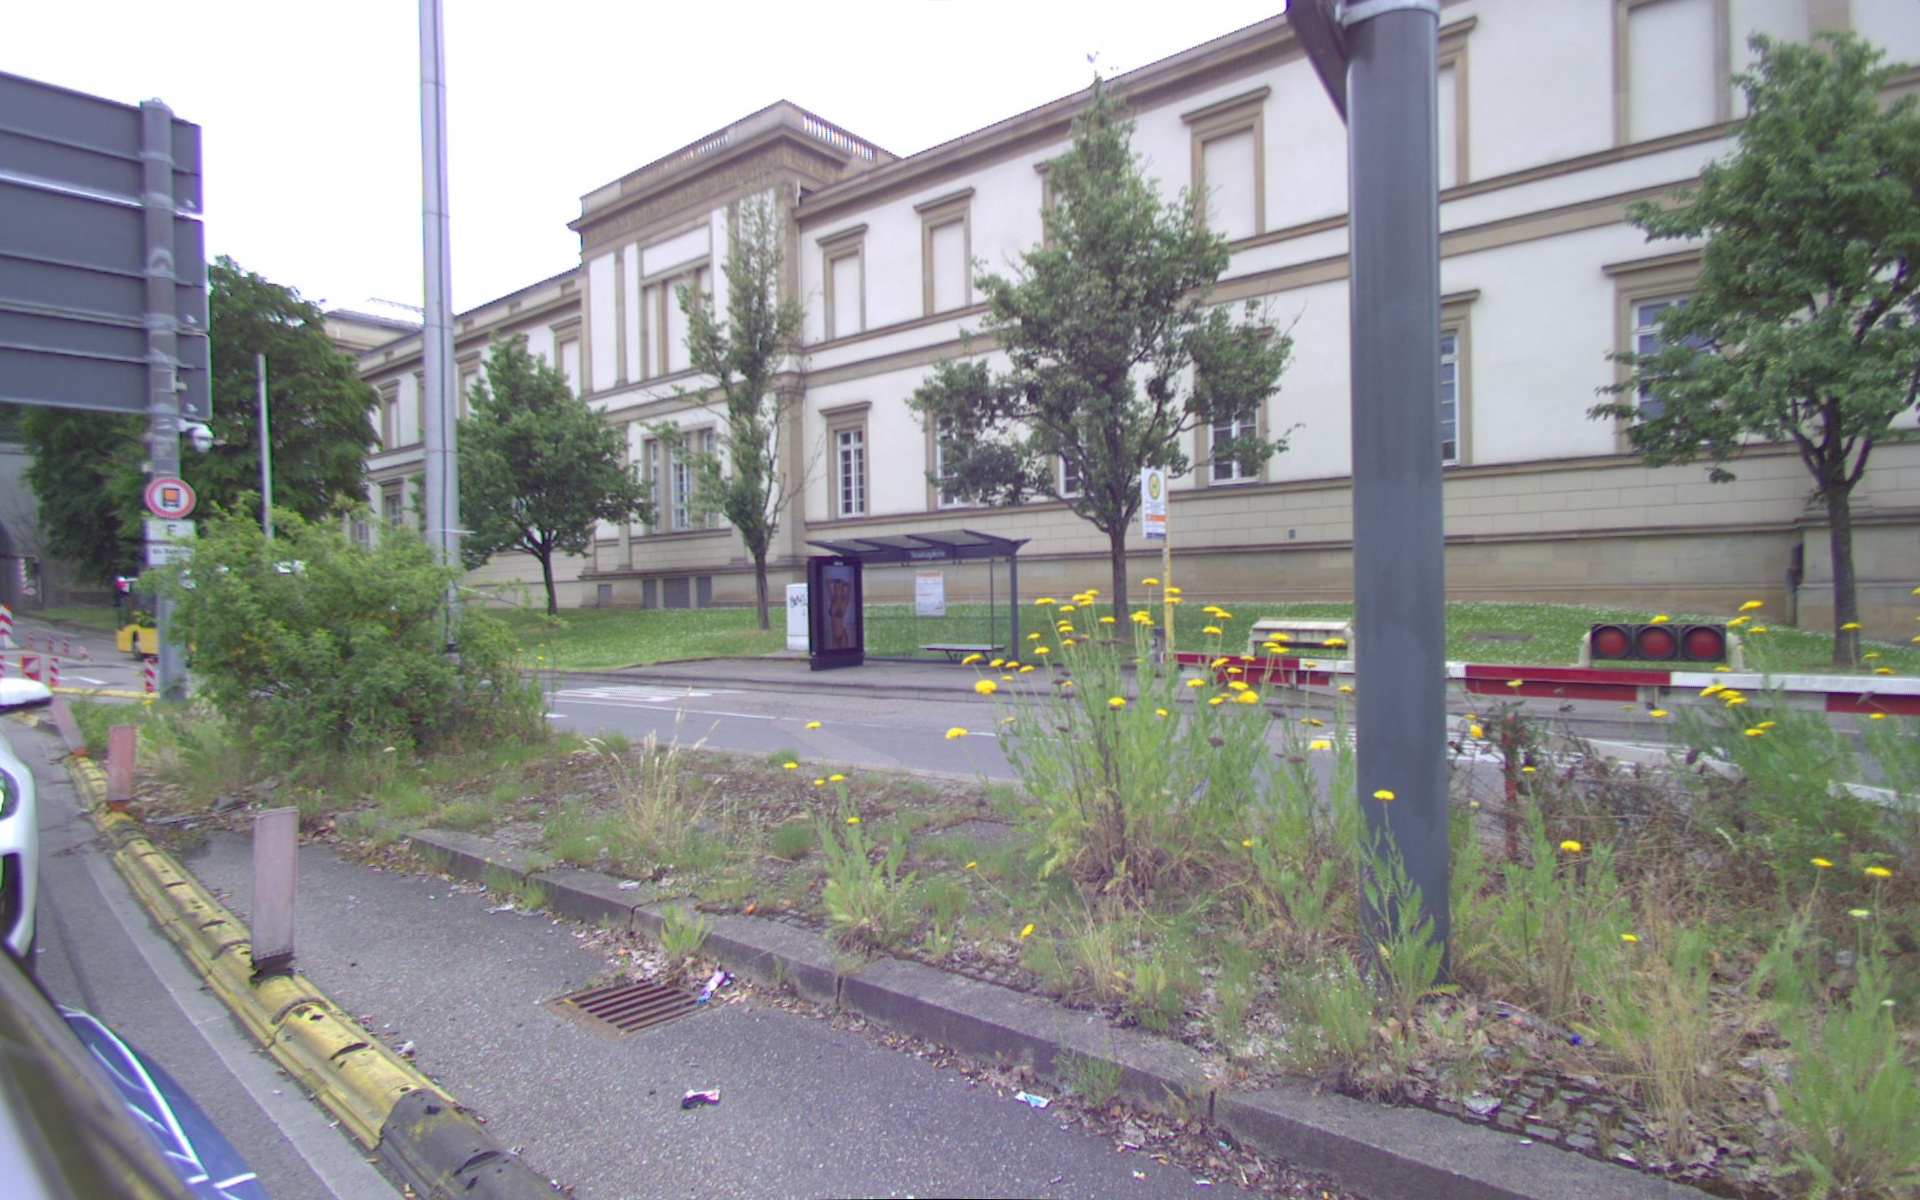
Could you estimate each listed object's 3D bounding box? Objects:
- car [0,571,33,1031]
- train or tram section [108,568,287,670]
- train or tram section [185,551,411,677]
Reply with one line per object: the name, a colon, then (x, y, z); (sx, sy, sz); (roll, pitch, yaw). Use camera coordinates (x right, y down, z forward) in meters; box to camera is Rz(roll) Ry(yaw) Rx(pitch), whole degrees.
car: (-5.231, 0.709, 4.205); (3.911, 1.568, 1.733); (-1, 0, 43)
train or tram section: (-26.327, 0.685, 34.718); (9.365, 3.094, 2.667); (-1, -2, 39)
train or tram section: (-19.064, 0.443, 28.840); (9.326, 3.094, 2.667); (-1, -2, 39)
